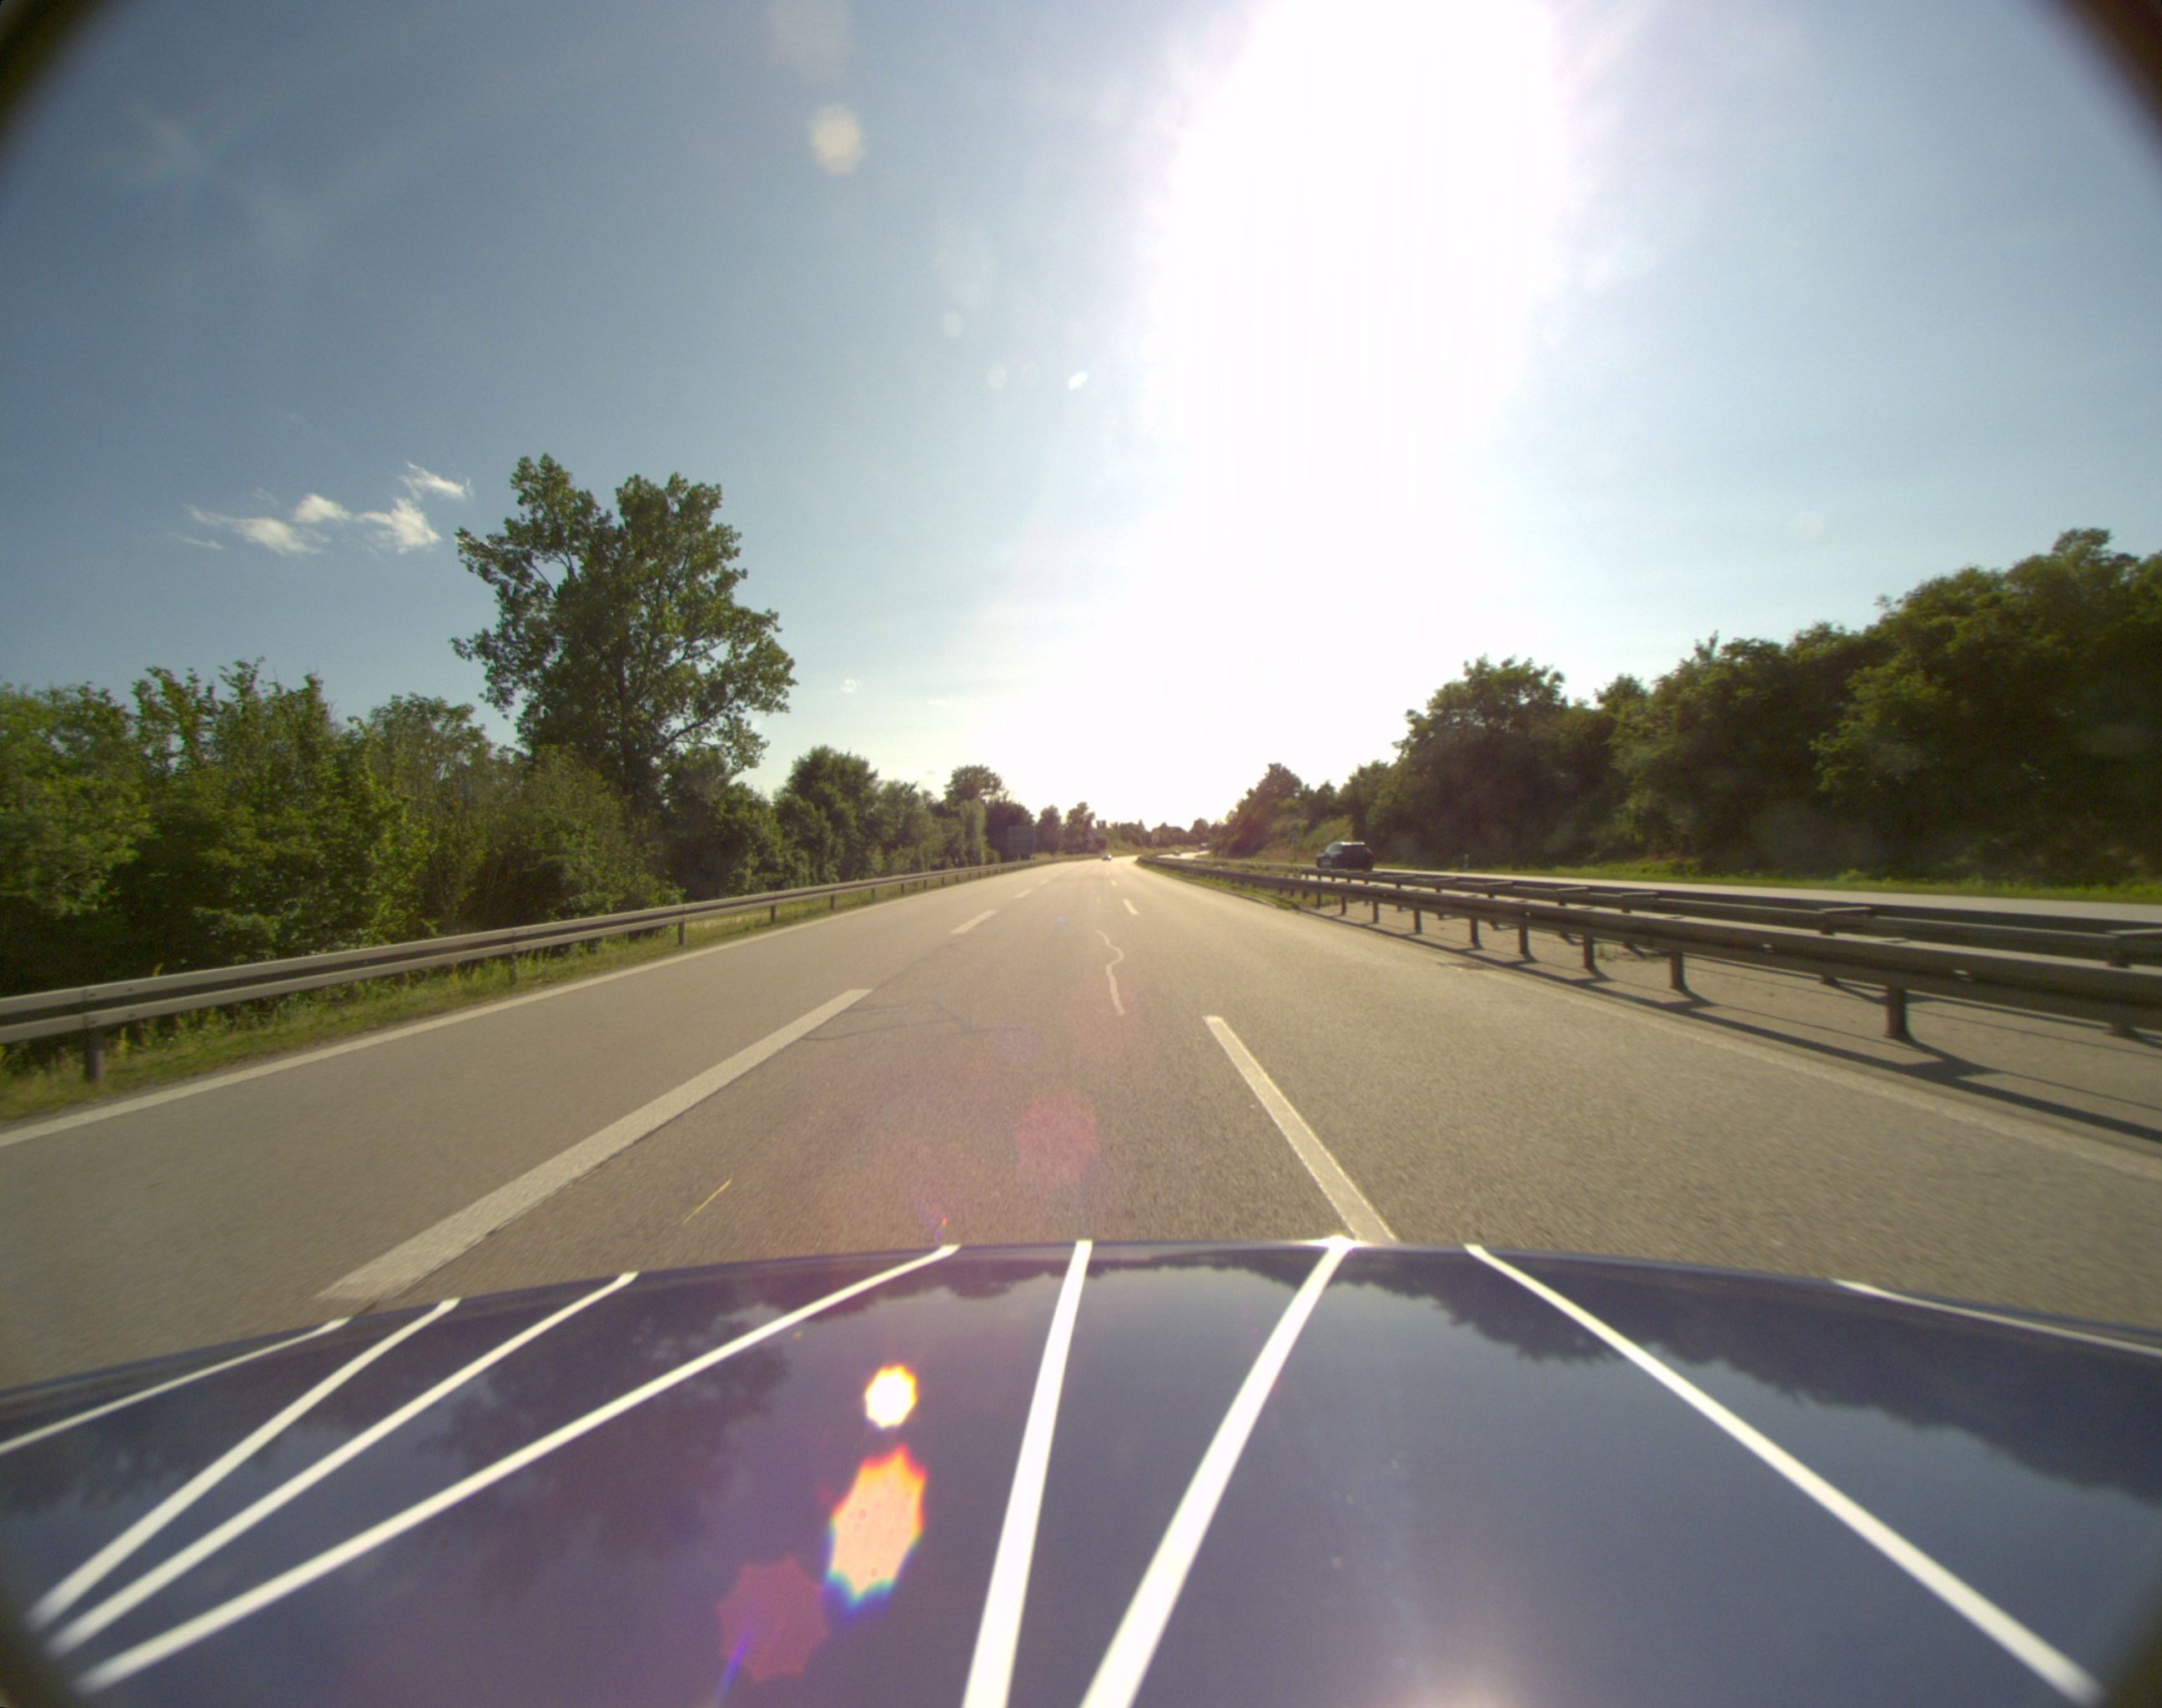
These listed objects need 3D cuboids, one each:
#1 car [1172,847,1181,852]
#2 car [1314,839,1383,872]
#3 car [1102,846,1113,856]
[{"bbox_3d":[26.461,-1.163,210.599,1.844,1.430,4.413,-1,0,2],"label":"car"},{"bbox_3d":[14.409,0.025,41.243,1.998,1.635,5.083,-1,1,1],"label":"car"},{"bbox_3d":[5.289,-0.595,152.232,1.998,2.002,4.600,-2,1,4],"label":"car"}]
